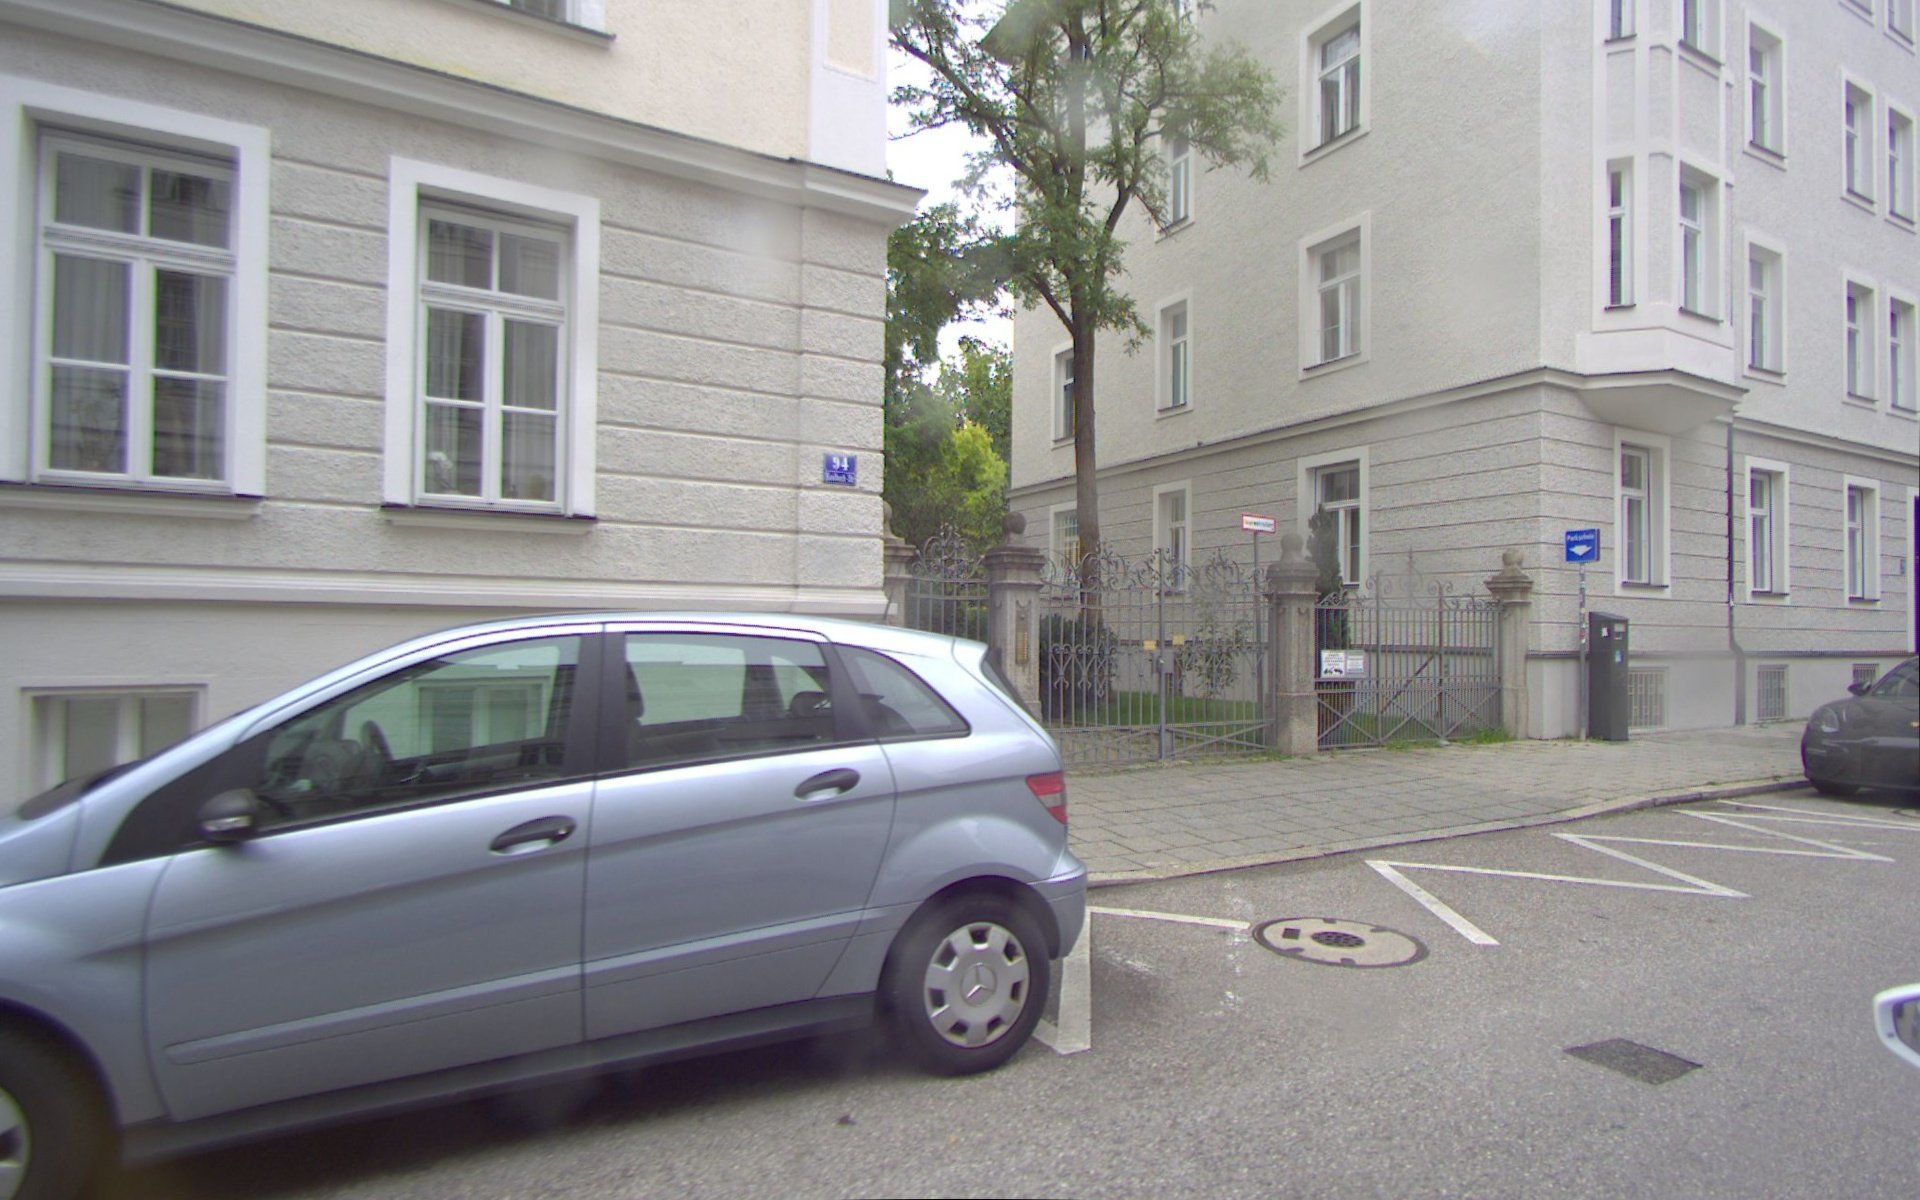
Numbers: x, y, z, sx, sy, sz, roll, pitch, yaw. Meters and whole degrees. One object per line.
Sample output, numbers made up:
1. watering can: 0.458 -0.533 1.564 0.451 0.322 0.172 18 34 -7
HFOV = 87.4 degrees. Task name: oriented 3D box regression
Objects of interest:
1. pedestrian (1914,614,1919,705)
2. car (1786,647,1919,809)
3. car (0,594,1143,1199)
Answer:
1. pedestrian: 18.659 1.126 19.028 0.657 1.729 0.694 1 -1 -30
2. car: 10.425 1.192 10.067 4.647 1.385 1.841 1 -2 -30
3. car: -1.485 0.853 3.588 4.010 1.601 1.691 1 -4 -28
